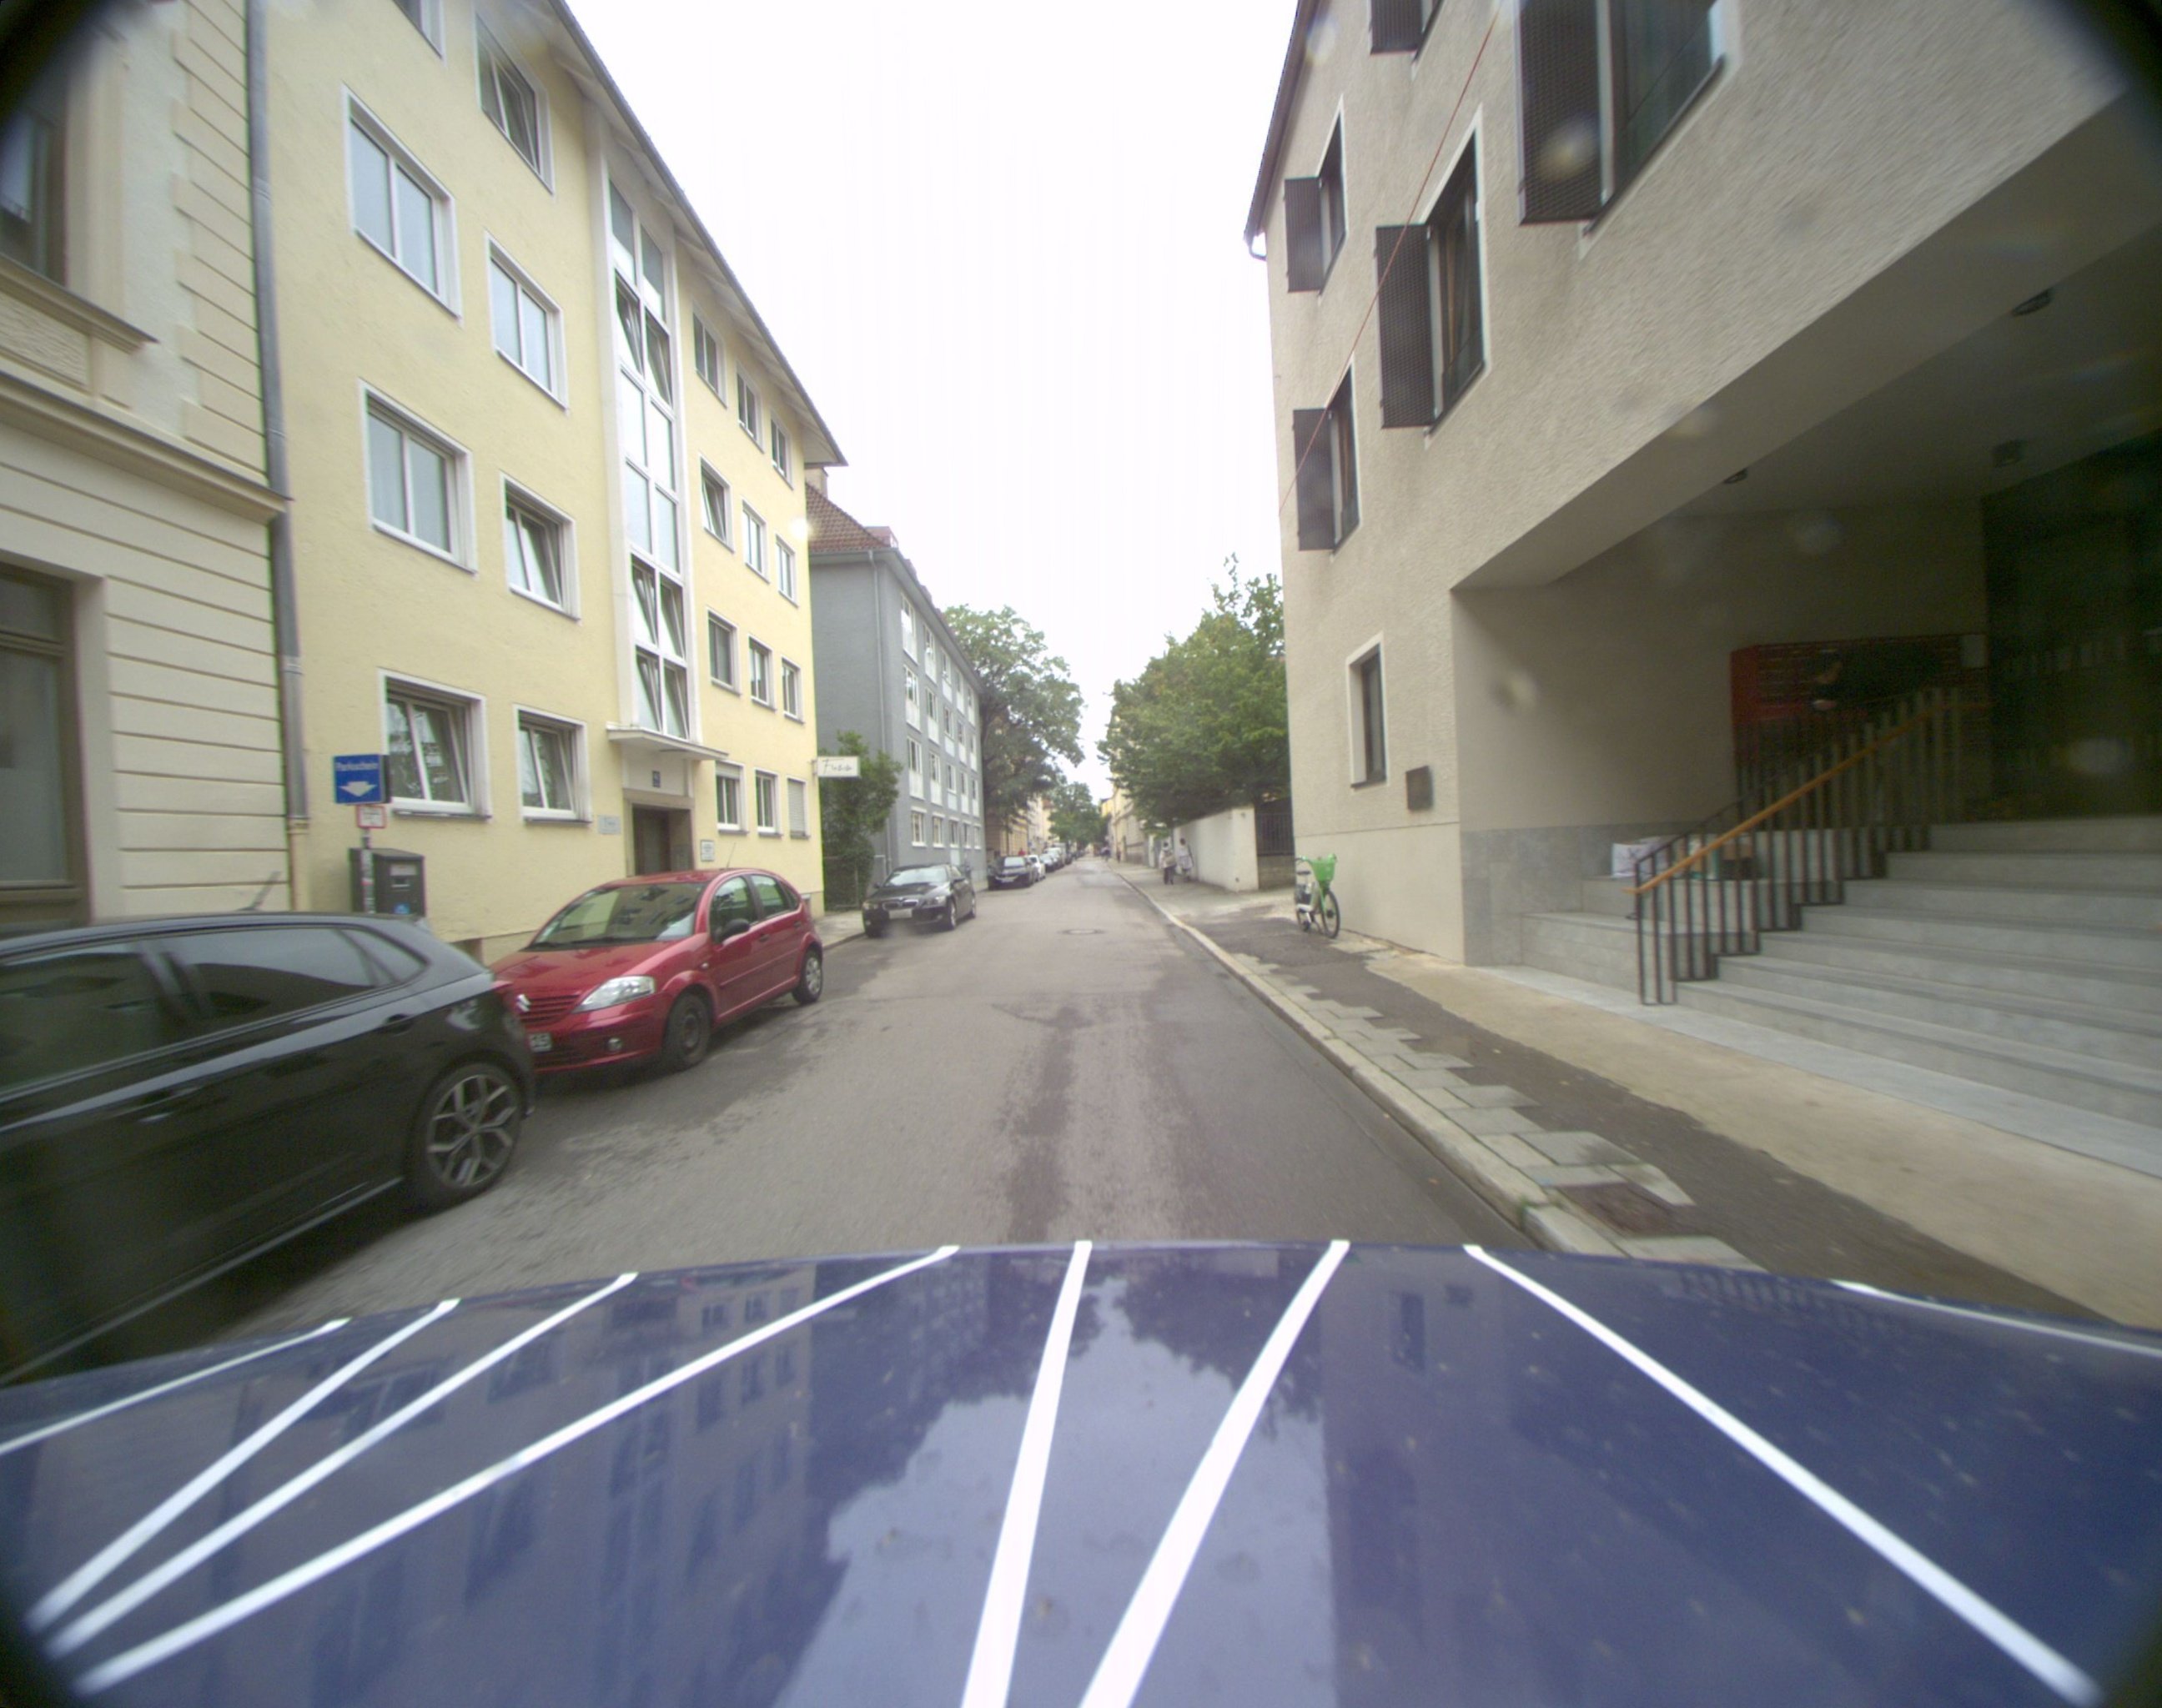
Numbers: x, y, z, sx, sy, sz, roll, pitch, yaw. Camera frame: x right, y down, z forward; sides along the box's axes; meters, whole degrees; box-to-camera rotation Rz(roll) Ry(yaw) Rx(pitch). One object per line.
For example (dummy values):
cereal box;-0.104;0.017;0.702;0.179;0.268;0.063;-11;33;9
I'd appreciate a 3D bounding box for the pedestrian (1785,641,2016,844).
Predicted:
pedestrian;6.523;-0.838;6.110;1.008;1.476;0.760;-2;2;8

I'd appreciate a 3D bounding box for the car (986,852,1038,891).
car;-3.009;0.733;33.813;1.846;1.420;4.263;-7;1;-1

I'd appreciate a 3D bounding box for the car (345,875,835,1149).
car;-3.696;1.049;6.686;1.680;1.484;3.853;-3;1;1

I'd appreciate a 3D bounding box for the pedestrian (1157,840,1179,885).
pedestrian;3.169;0.285;27.585;0.624;1.570;0.714;-4;2;1

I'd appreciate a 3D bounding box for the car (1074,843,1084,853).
car;-0.389;-1.483;185.478;2.014;1.969;5.090;-7;1;2

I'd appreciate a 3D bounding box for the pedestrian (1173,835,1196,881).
pedestrian;3.778;0.137;27.719;0.615;1.612;0.687;-5;1;1

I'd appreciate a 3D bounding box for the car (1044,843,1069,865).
car;-2.362;-0.066;74.881;1.998;2.002;5.064;-3;1;3

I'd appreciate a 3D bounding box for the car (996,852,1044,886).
car;-3.046;0.730;38.643;1.794;1.393;4.485;-7;1;2

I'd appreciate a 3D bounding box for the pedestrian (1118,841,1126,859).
pedestrian;4.169;-0.407;77.382;0.766;1.742;0.970;-3;1;0

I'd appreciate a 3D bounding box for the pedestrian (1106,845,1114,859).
pedestrian;3.624;-0.265;94.791;0.920;1.742;1.066;-3;1;0

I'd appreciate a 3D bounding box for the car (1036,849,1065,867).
car;-2.512;0.330;63.552;1.998;1.306;4.593;-3;1;2

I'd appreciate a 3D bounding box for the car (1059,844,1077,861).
car;-1.687;-0.270;101.399;2.014;1.989;5.090;-7;1;2

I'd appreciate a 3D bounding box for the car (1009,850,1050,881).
car;-2.881;0.629;43.701;1.773;1.437;4.344;-7;1;2

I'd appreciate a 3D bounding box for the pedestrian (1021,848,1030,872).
pedestrian;-4.636;0.462;63.250;0.581;1.966;0.455;-3;1;1

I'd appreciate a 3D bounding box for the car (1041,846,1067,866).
car;-2.389;0.146;68.864;1.998;1.677;4.510;-3;1;2

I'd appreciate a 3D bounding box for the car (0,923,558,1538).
car;-3.667;1.120;1.973;1.680;1.385;4.065;-3;1;1

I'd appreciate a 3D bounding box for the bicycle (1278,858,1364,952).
bicycle;3.340;0.664;10.761;0.539;1.132;1.916;-5;1;0

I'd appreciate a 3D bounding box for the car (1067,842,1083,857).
car;-1.013;-0.775;131.002;2.242;2.247;5.090;-7;1;2

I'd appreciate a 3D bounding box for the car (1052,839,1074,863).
car;-2.019;-0.390;87.980;2.014;2.479;5.090;-7;1;2

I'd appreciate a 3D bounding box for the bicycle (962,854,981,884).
bicycle;-5.596;0.743;38.902;0.515;1.478;2.279;-3;1;2

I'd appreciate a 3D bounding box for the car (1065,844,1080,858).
car;-1.350;-0.505;124.542;2.014;1.914;5.090;-7;1;2

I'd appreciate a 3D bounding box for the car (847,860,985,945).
car;-3.367;0.922;16.429;1.830;1.327;4.508;-7;1;1

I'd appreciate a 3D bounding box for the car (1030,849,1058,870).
car;-2.763;0.421;58.338;1.860;1.366;4.509;-5;1;0
